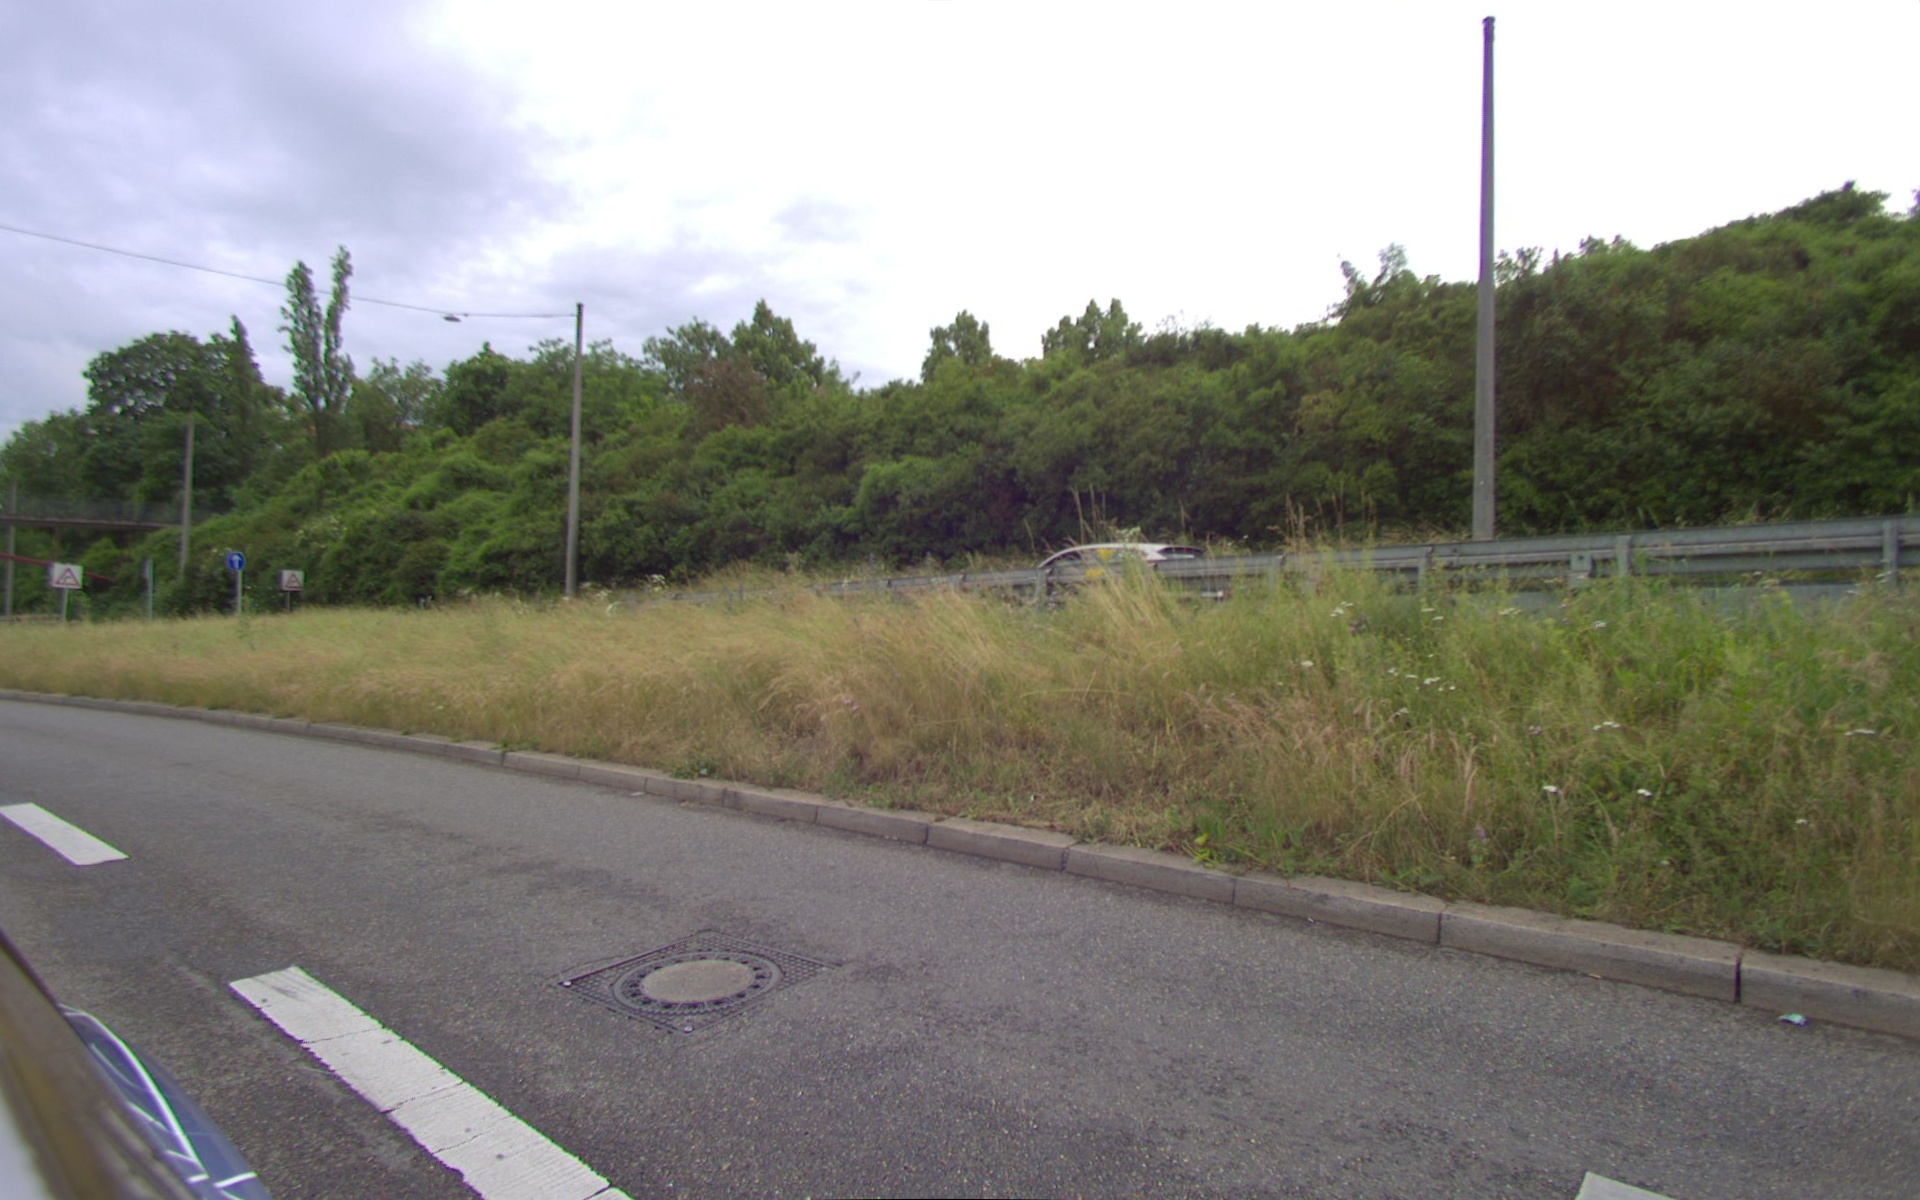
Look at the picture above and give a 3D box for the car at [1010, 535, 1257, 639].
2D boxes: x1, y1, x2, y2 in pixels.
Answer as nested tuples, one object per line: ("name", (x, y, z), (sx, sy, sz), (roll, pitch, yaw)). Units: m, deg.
("car", (2.798, -0.145, 16.769), (3.676, 1.529, 1.717), (-2, -2, 41))
